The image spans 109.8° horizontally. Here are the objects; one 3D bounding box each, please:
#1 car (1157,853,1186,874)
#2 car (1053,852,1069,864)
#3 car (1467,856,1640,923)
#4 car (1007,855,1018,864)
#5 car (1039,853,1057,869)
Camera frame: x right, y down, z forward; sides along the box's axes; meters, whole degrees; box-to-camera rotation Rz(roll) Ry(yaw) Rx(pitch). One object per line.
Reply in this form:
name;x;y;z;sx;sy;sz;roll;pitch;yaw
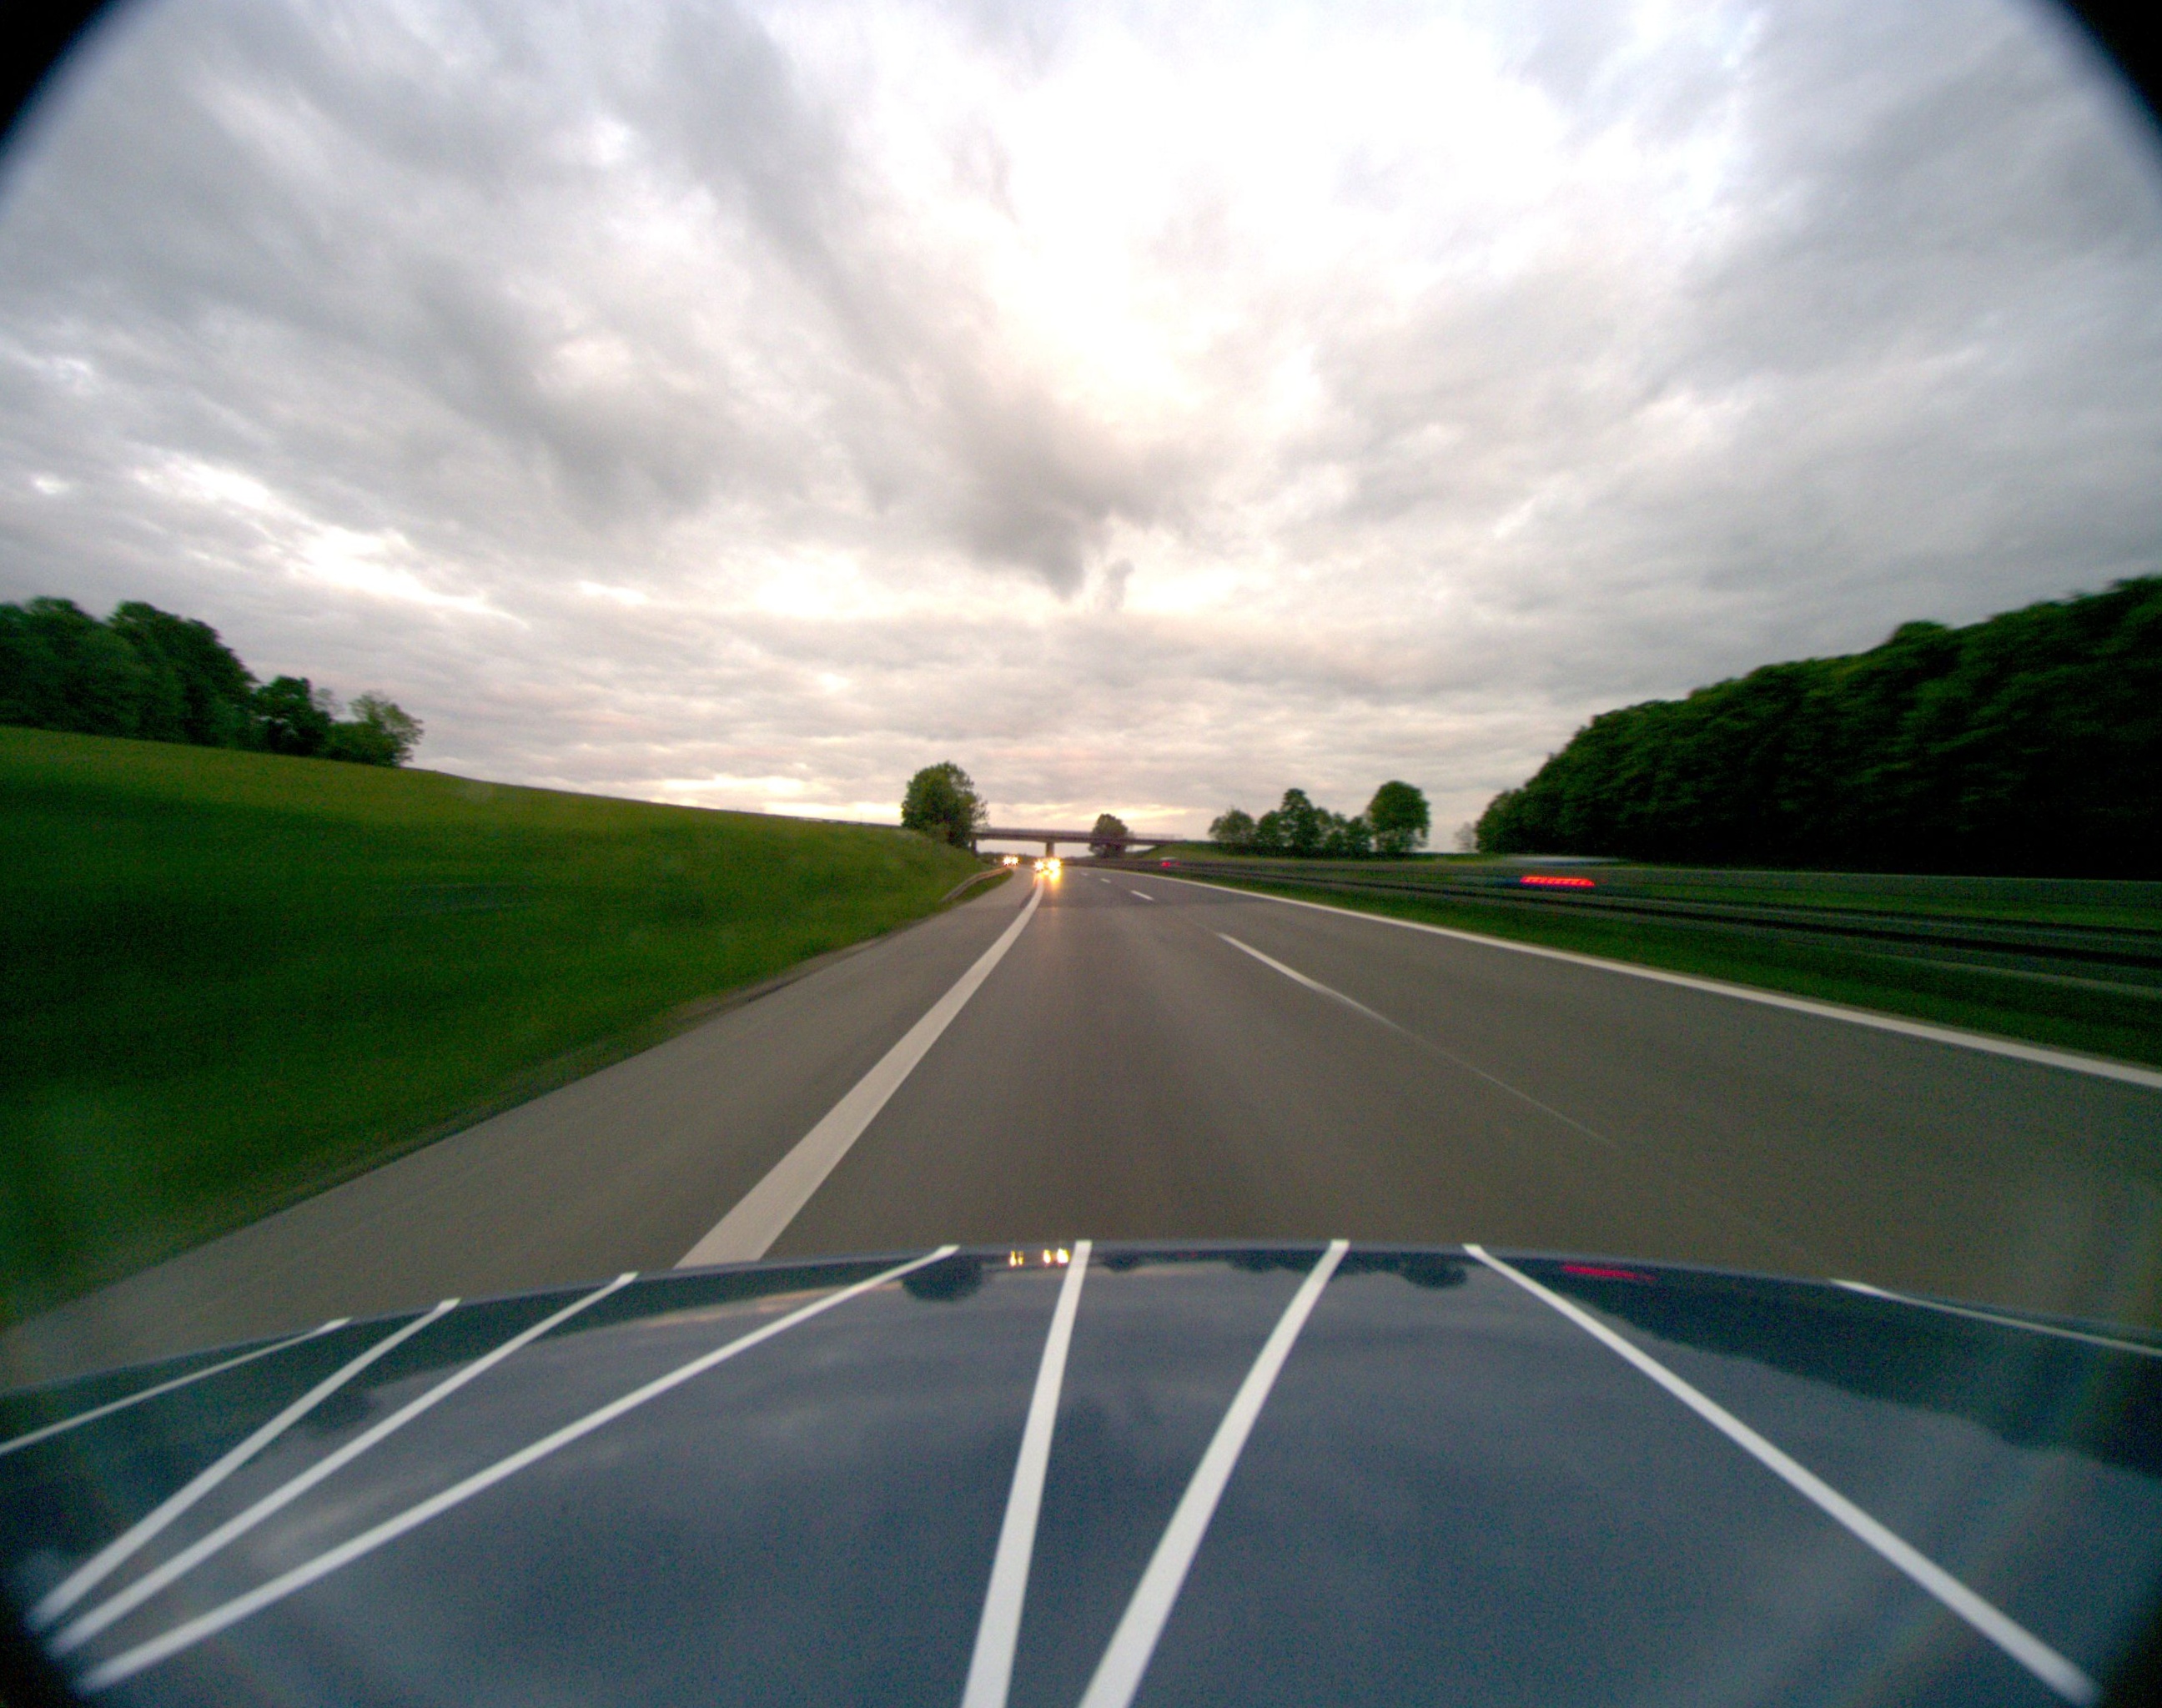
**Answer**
car;9.210;0.952;77.788;1.999;2.002;5.166;1;0;-5
car;-2.760;0.541;104.406;1.661;1.470;3.997;-1;0;-8
car;12.504;0.848;20.537;1.659;1.541;4.671;1;0;-2
car;-14.329;1.114;159.346;1.921;1.826;3.997;1;-1;-9
car;-3.348;0.724;76.827;1.682;1.504;3.998;1;0;-4
